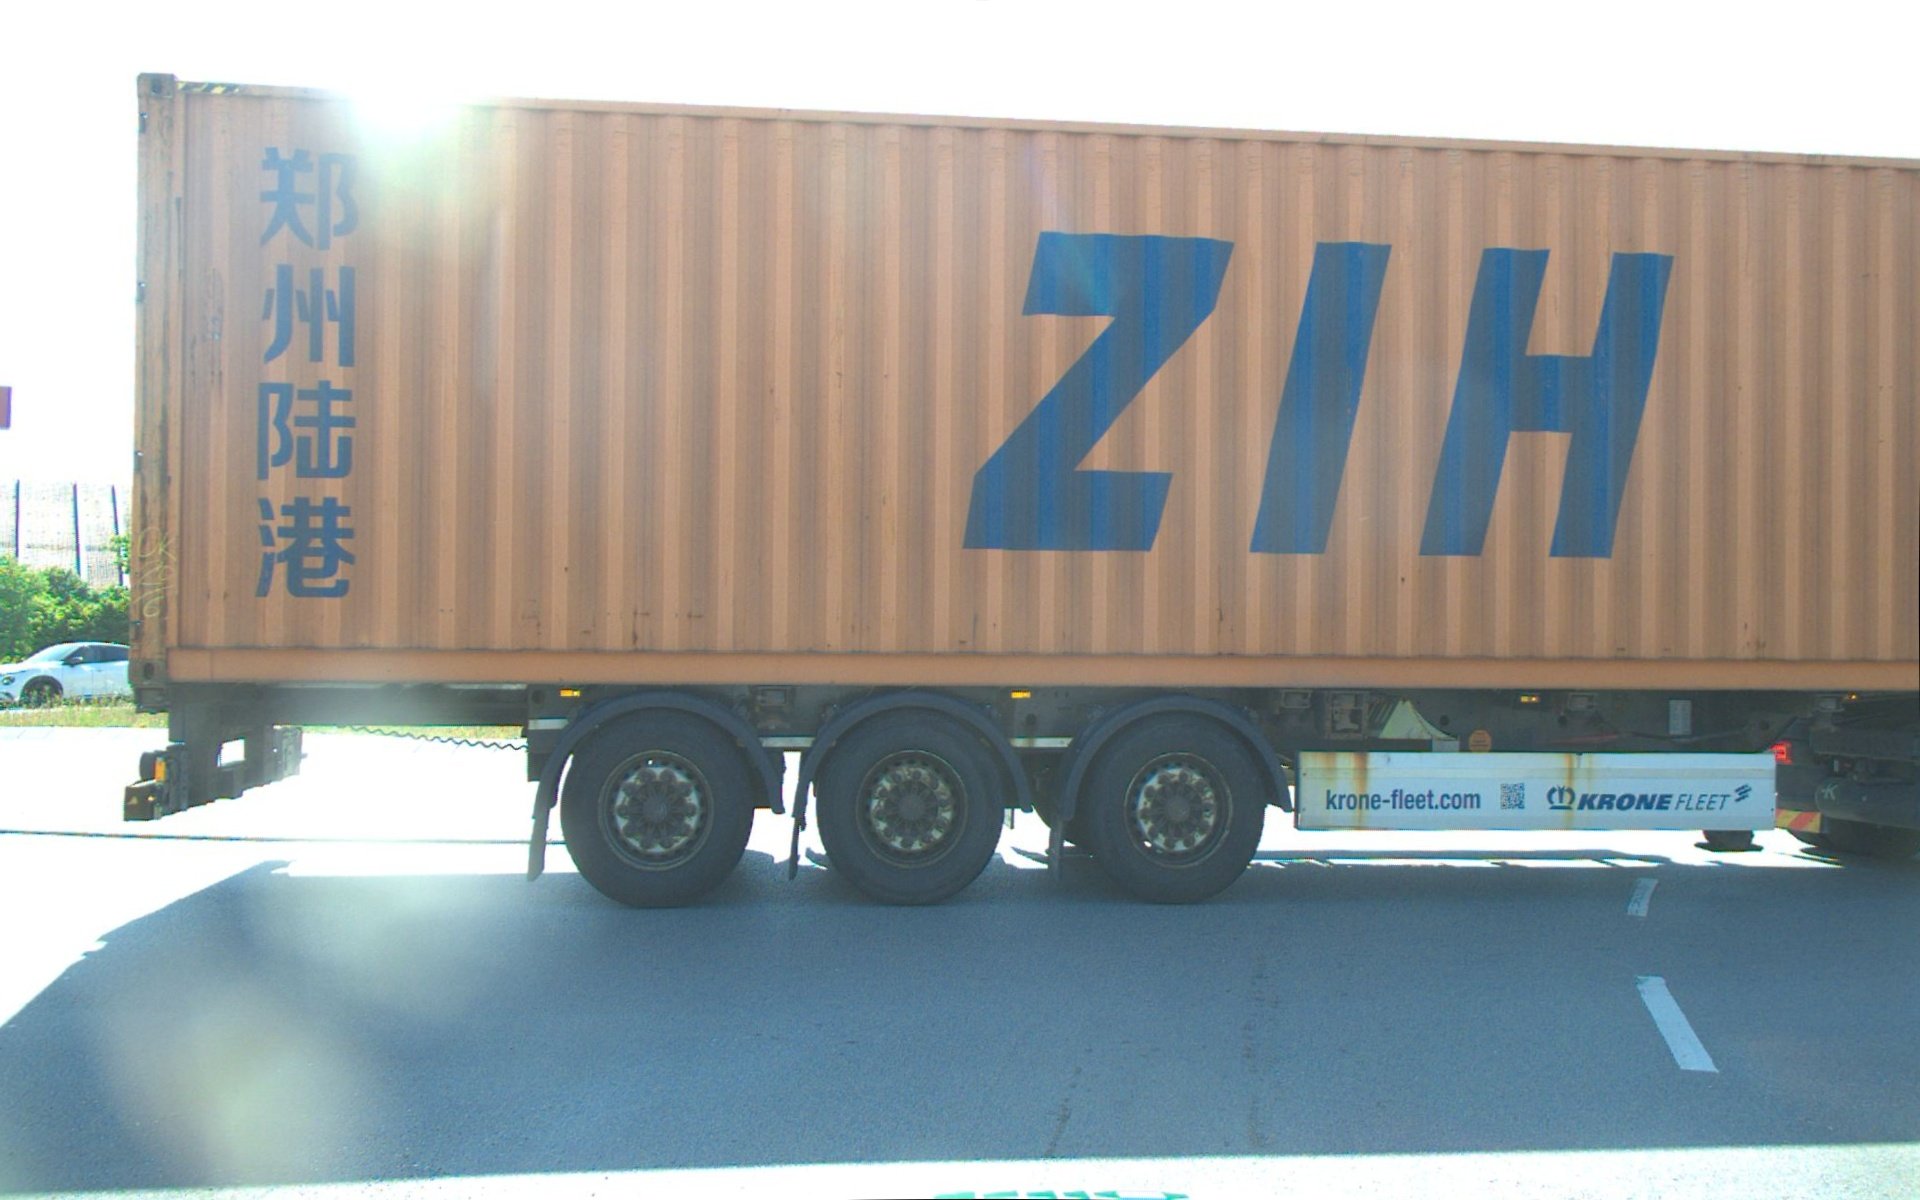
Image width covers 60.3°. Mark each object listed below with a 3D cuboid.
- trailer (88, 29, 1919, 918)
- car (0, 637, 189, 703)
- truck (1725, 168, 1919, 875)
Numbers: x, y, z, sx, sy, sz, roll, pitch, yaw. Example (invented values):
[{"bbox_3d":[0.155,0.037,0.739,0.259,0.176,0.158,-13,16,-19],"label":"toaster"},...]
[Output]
[{"bbox_3d":[1.781,-0.536,9.800,12.083,4.227,2.557,1,-1,-6],"label":"trailer"},{"bbox_3d":[-19.839,1.563,37.596,1.580,1.378,3.991,1,-1,30],"label":"car"},{"bbox_3d":[8.592,-0.419,10.979,6.314,4.179,2.649,1,-1,-18],"label":"truck"}]
